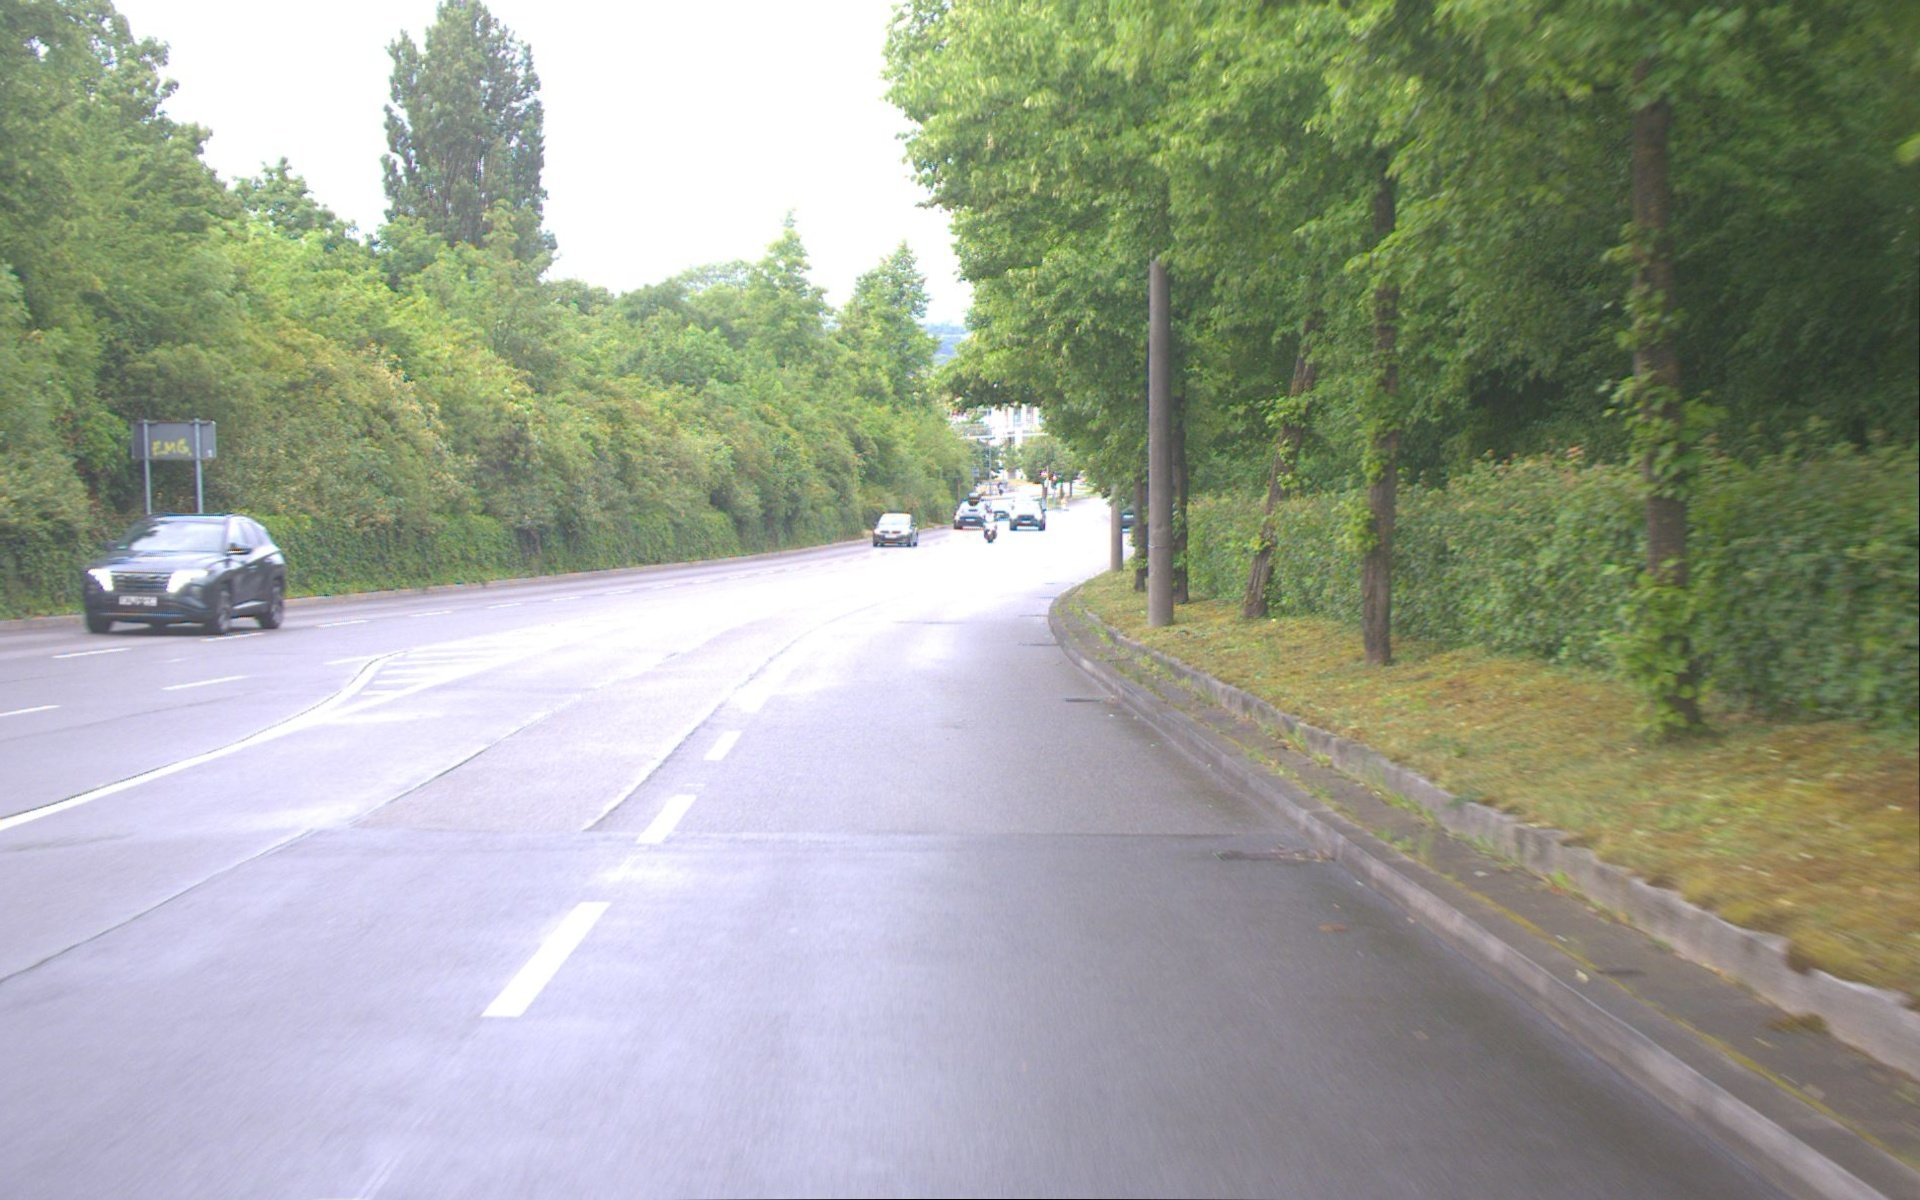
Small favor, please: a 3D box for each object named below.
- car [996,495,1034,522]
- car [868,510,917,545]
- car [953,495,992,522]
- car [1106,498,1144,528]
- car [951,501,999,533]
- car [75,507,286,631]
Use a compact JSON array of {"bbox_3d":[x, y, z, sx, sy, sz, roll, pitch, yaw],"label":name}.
[{"bbox_3d":[3.163,-5.257,197.267,1.865,1.459,3.892,2,1,5],"label":"car"},{"bbox_3d":[-2.888,-3.134,148.142,1.864,1.459,3.893,2,1,2],"label":"car"},{"bbox_3d":[0.734,-5.238,197.139,1.865,1.459,3.892,2,1,5],"label":"car"},{"bbox_3d":[9.326,-4.917,193.888,1.945,1.585,3.927,0,3,5],"label":"car"},{"bbox_3d":[0.735,-3.950,163.126,1.865,1.459,3.892,2,1,6],"label":"car"},{"bbox_3d":[-10.660,-0.457,47.292,1.864,1.584,3.893,2,1,2],"label":"car"}]
